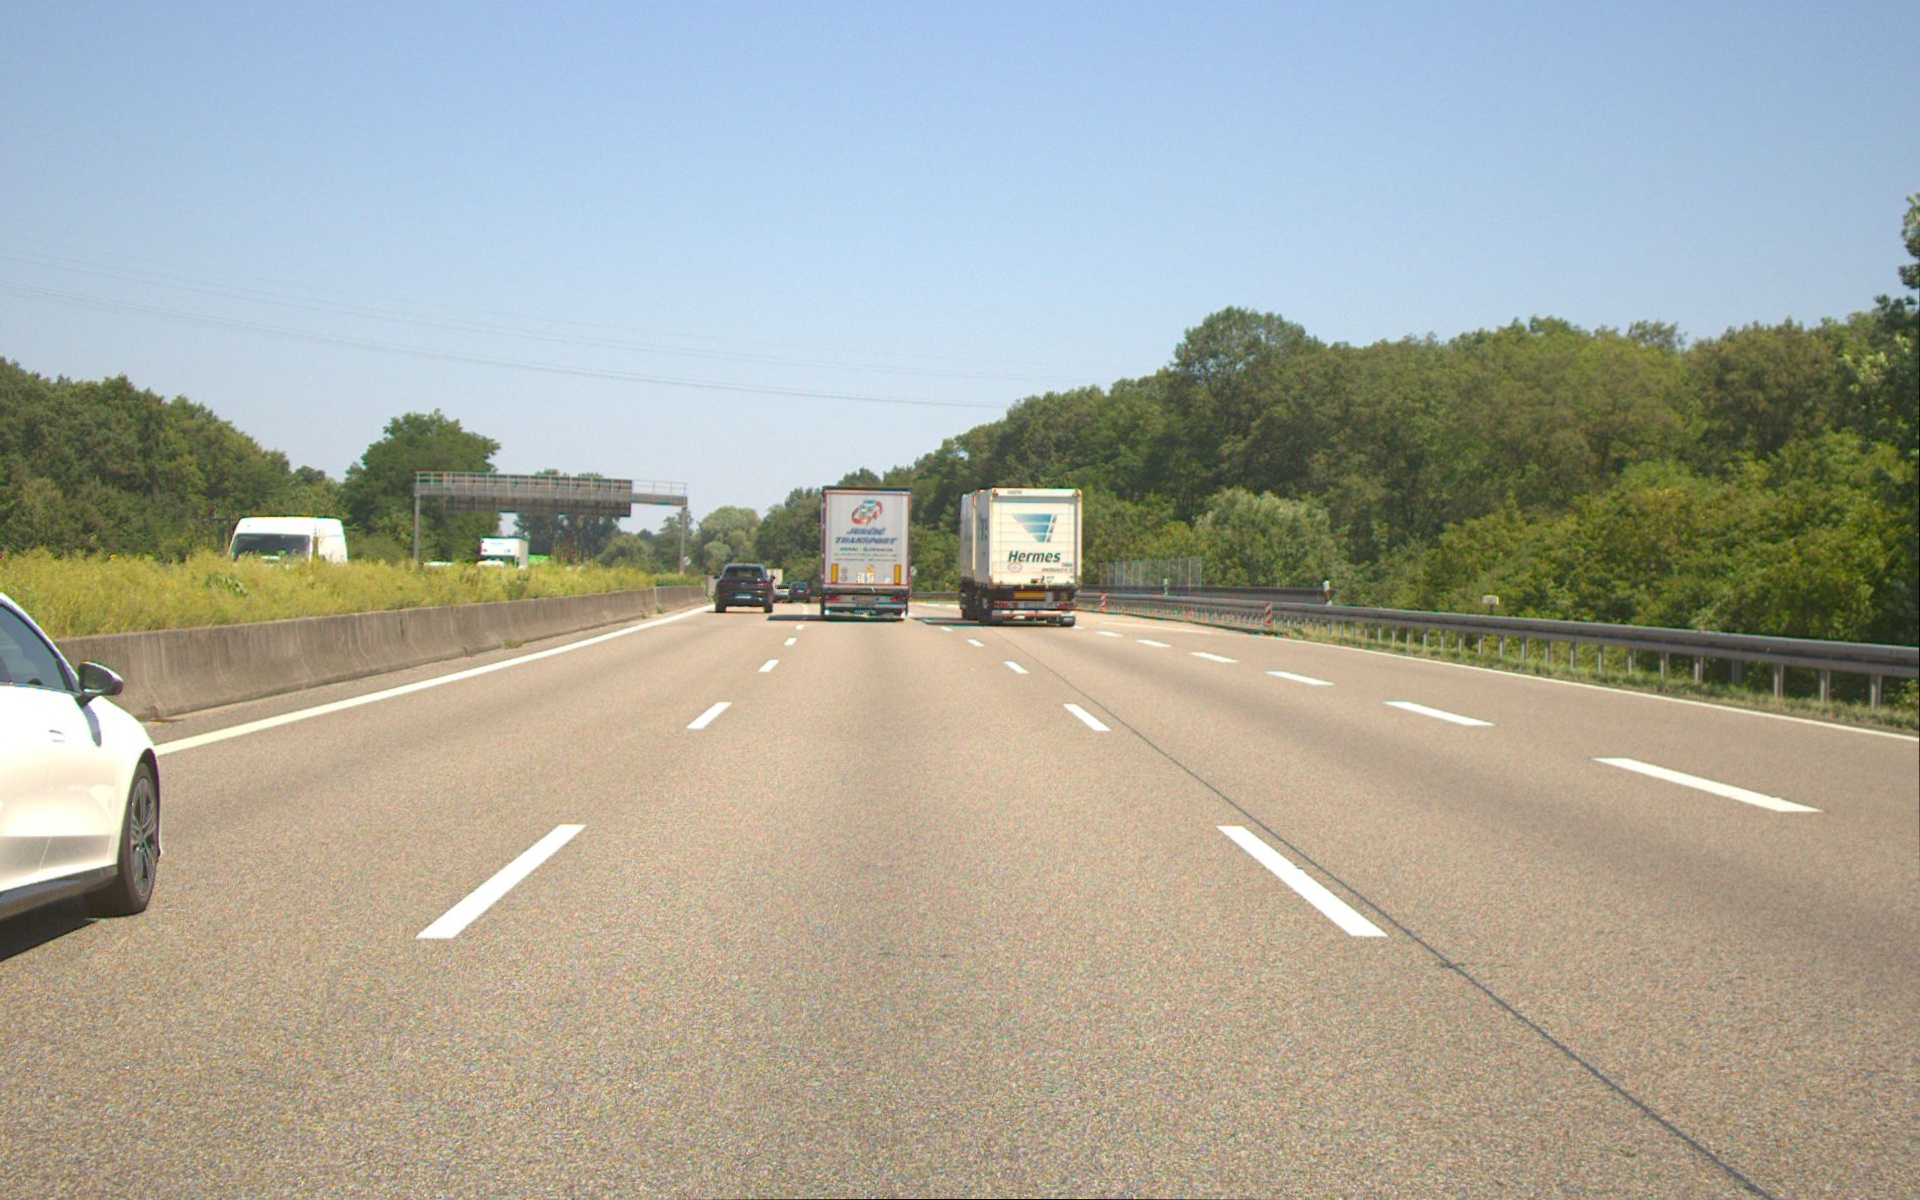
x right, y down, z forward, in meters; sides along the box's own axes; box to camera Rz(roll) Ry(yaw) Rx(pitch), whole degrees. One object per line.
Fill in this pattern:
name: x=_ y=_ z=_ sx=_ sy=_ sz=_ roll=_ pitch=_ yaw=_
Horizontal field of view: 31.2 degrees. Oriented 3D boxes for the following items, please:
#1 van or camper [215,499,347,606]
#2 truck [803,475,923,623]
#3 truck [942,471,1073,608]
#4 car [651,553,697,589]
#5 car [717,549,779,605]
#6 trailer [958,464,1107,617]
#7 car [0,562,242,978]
van or camper: x=-15.742 y=-1.097 z=80.038 sx=2.250 sy=2.379 sz=6.761 roll=1 pitch=1 yaw=-5
truck: x=-2.977 y=-1.556 z=102.990 sx=3.229 sy=4.187 sz=8.467 roll=1 pitch=1 yaw=-4
truck: x=1.390 y=-1.948 z=108.188 sx=3.325 sy=4.039 sz=10.955 roll=1 pitch=1 yaw=-3
car: x=-16.317 y=-1.653 z=196.314 sx=2.292 sy=2.007 sz=4.711 roll=1 pitch=0 yaw=-2
car: x=-7.507 y=-0.820 z=121.338 sx=1.993 sy=1.868 sz=4.001 roll=1 pitch=1 yaw=-6
trailer: x=1.976 y=-1.742 z=98.751 sx=3.367 sy=4.128 sz=9.093 roll=1 pitch=1 yaw=-4
car: x=-4.273 y=0.580 z=13.735 sx=1.767 sy=1.443 sz=5.108 roll=1 pitch=1 yaw=0
